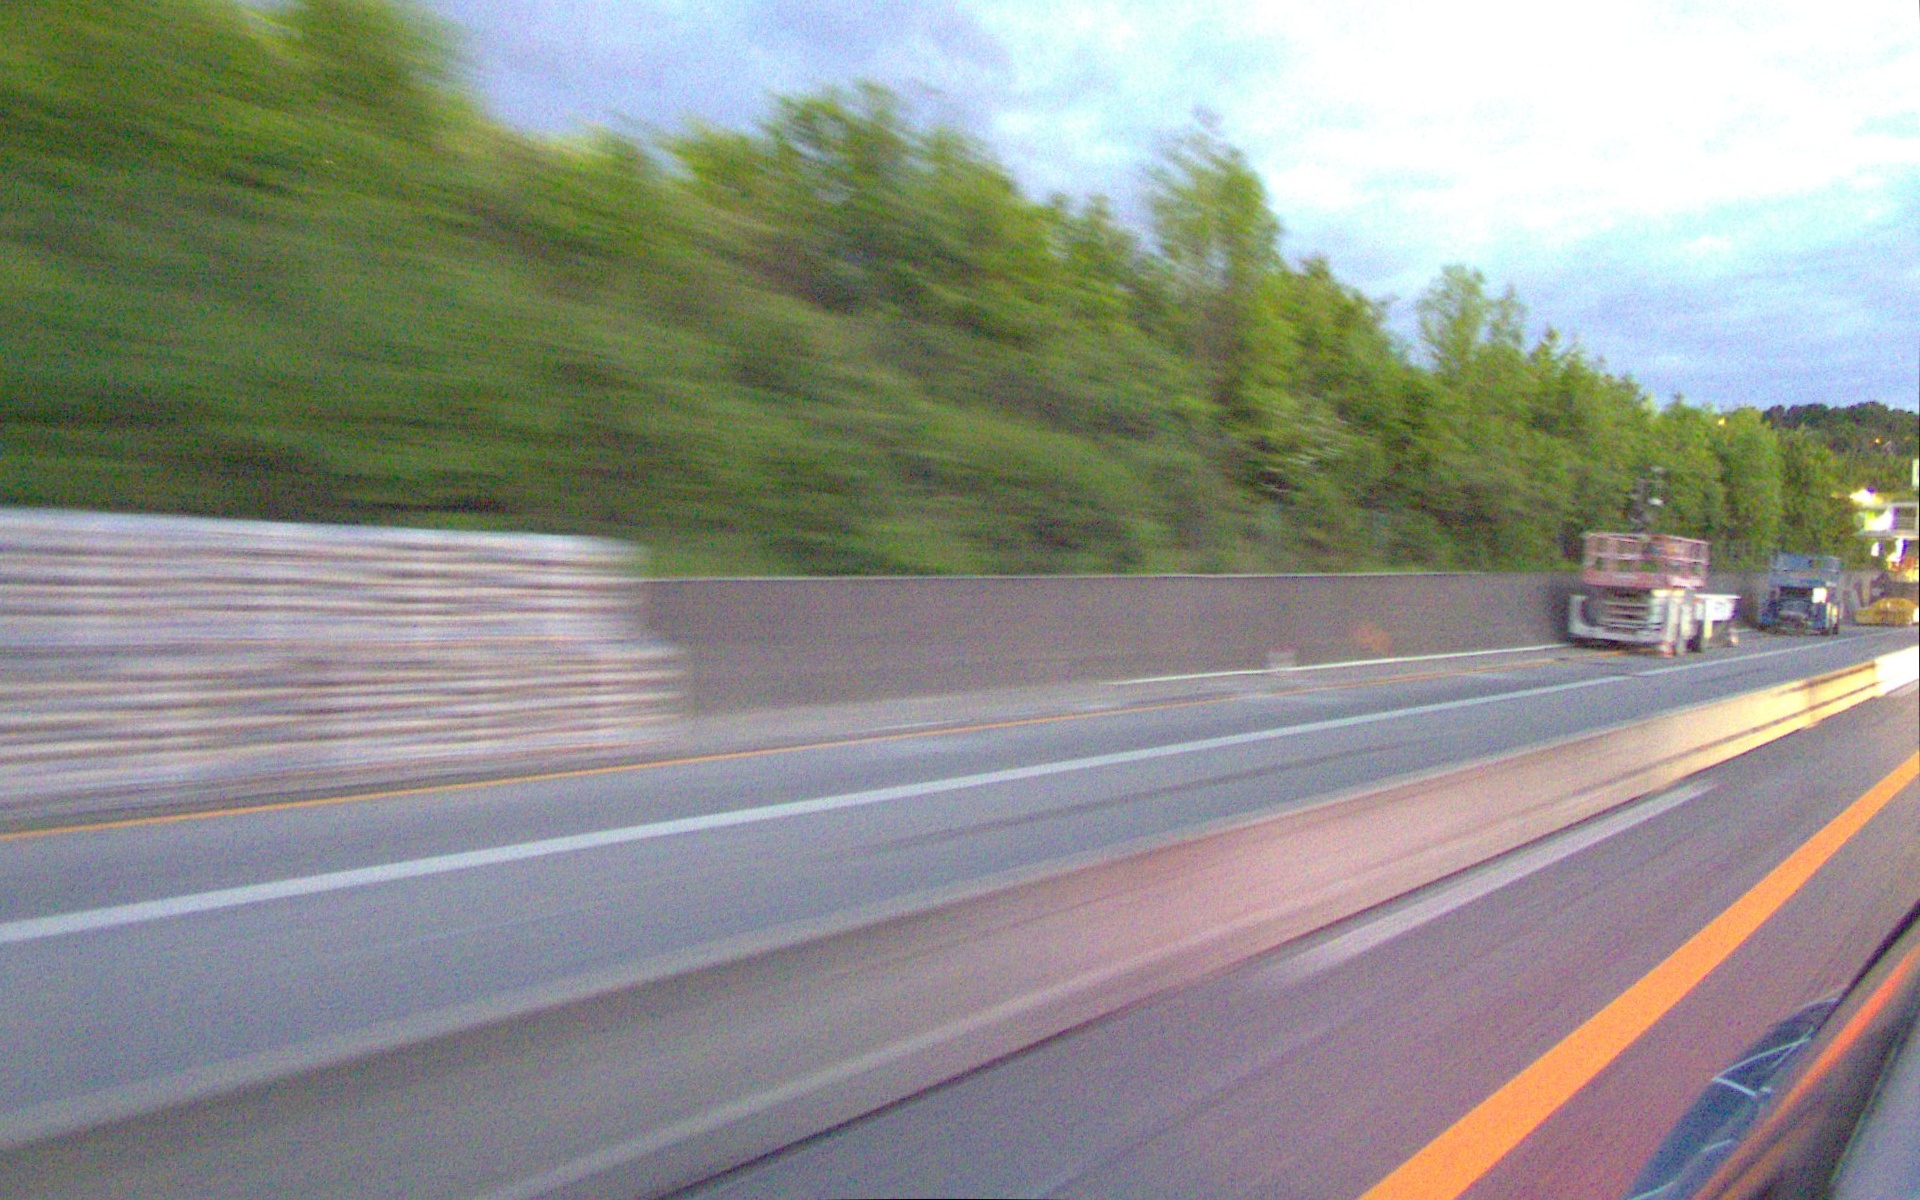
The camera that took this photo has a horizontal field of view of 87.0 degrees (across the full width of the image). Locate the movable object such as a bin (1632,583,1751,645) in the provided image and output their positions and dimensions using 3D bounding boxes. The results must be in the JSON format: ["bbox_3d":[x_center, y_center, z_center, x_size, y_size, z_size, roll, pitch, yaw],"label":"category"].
[{"bbox_3d":[21.746,0.363,30.044,4.014,1.621,1.997,-1,3,-41],"label":"movable object such as a bin"}]

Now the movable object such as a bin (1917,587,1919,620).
[{"bbox_3d":[88.130,0.284,90.772,7.077,2.863,2.972,-1,0,-44],"label":"movable object such as a bin"}]

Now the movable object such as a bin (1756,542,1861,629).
[{"bbox_3d":[35.279,-0.644,42.016,5.484,3.359,2.568,-1,2,-42],"label":"movable object such as a bin"}]

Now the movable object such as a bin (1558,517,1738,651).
[{"bbox_3d":[18.218,-0.457,26.670,5.707,3.146,2.625,-1,2,-42],"label":"movable object such as a bin"}]
